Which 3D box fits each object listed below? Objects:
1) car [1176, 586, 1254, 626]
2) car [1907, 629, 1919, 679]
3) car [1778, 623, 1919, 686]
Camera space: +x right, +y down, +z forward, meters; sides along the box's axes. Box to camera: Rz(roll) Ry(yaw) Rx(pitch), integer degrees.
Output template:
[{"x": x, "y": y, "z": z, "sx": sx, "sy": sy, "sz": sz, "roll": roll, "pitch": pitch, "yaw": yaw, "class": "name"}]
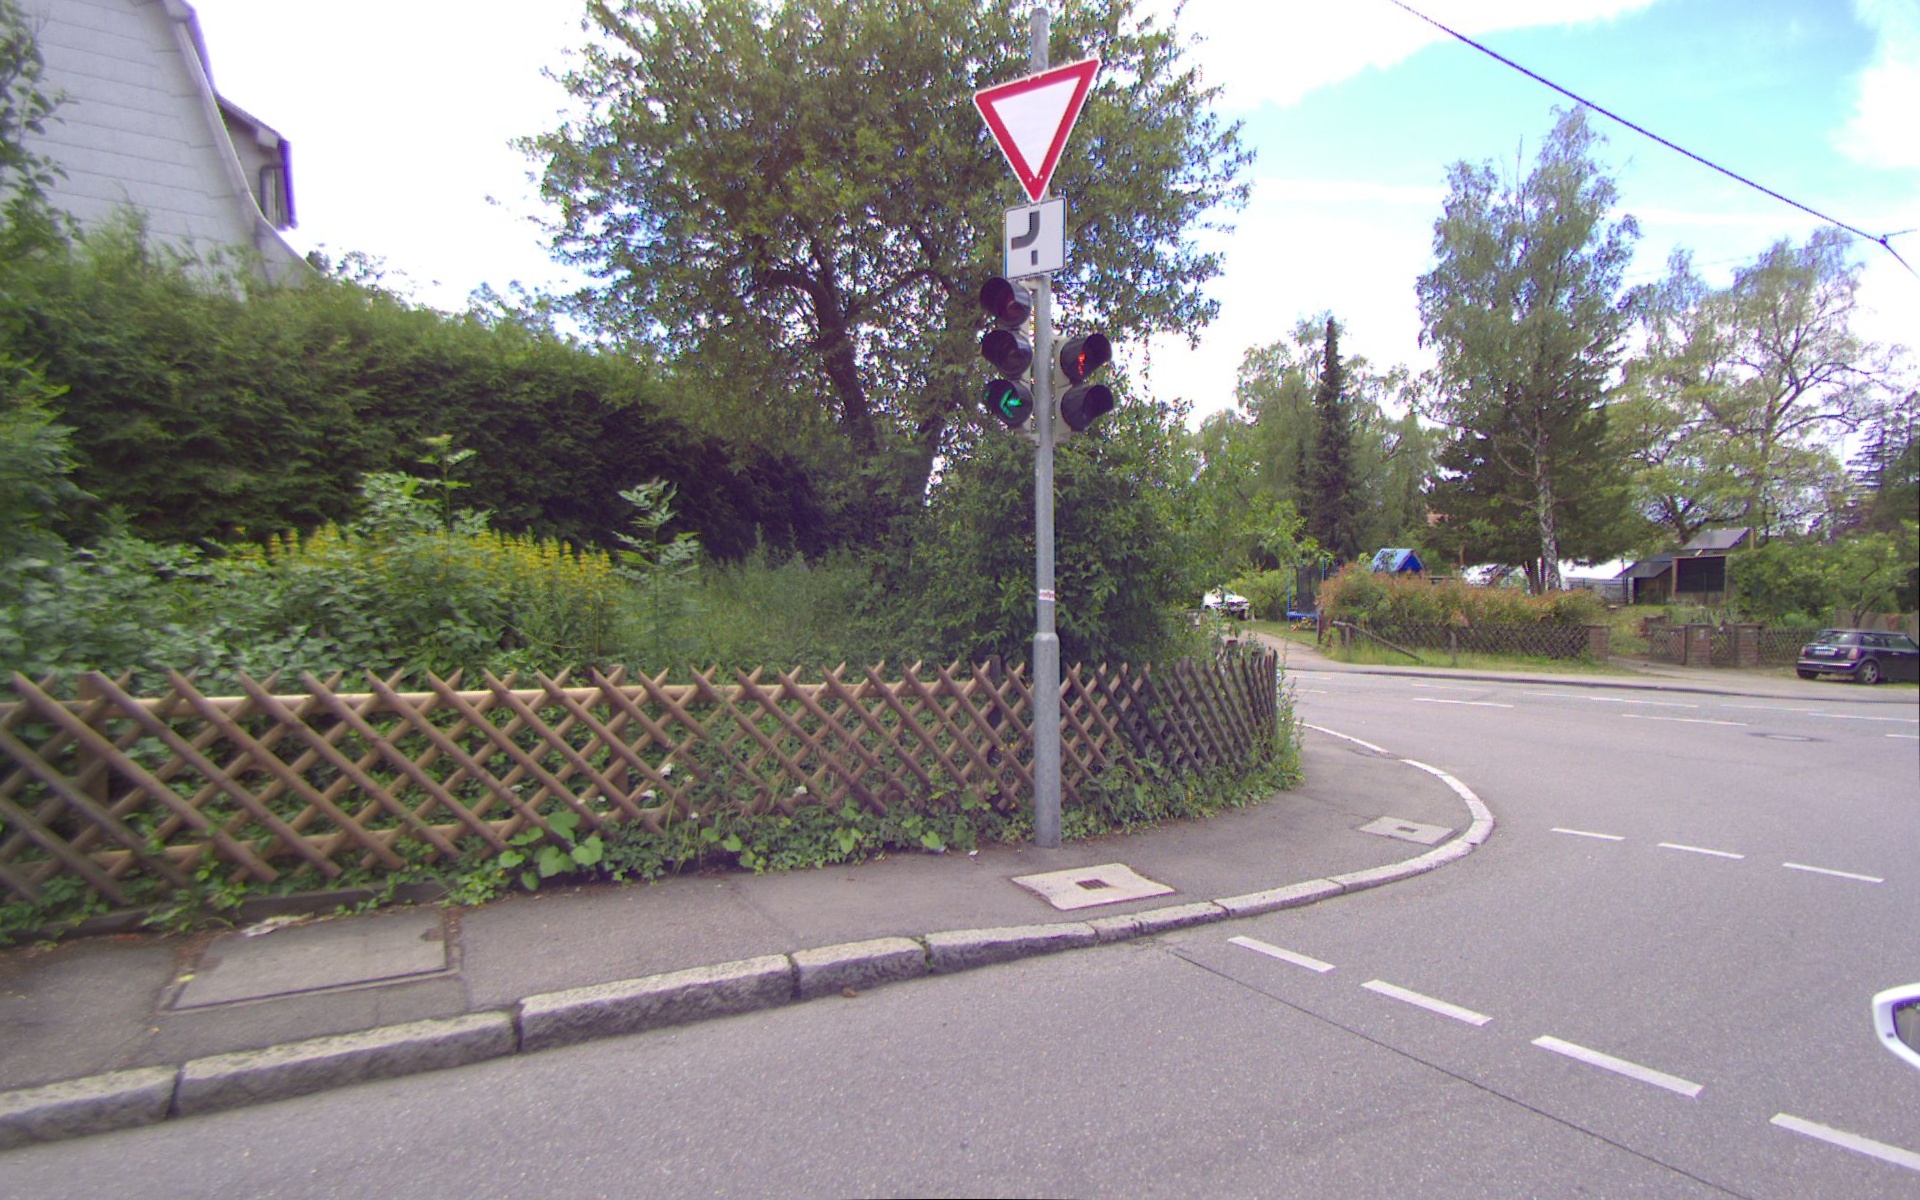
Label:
[{"x": 11.614, "y": 0.244, "z": 46.065, "sx": 1.963, "sy": 1.680, "sz": 4.337, "roll": -2, "pitch": 1, "yaw": -7, "class": "car"}, {"x": 32.852, "y": 1.792, "z": 31.871, "sx": 4.043, "sy": 1.574, "sz": 1.843, "roll": 1, "pitch": 0, "yaw": 44, "class": "car"}, {"x": 24.153, "y": 1.446, "z": 26.783, "sx": 3.479, "sy": 1.468, "sz": 1.700, "roll": 2, "pitch": 2, "yaw": -10, "class": "car"}]
